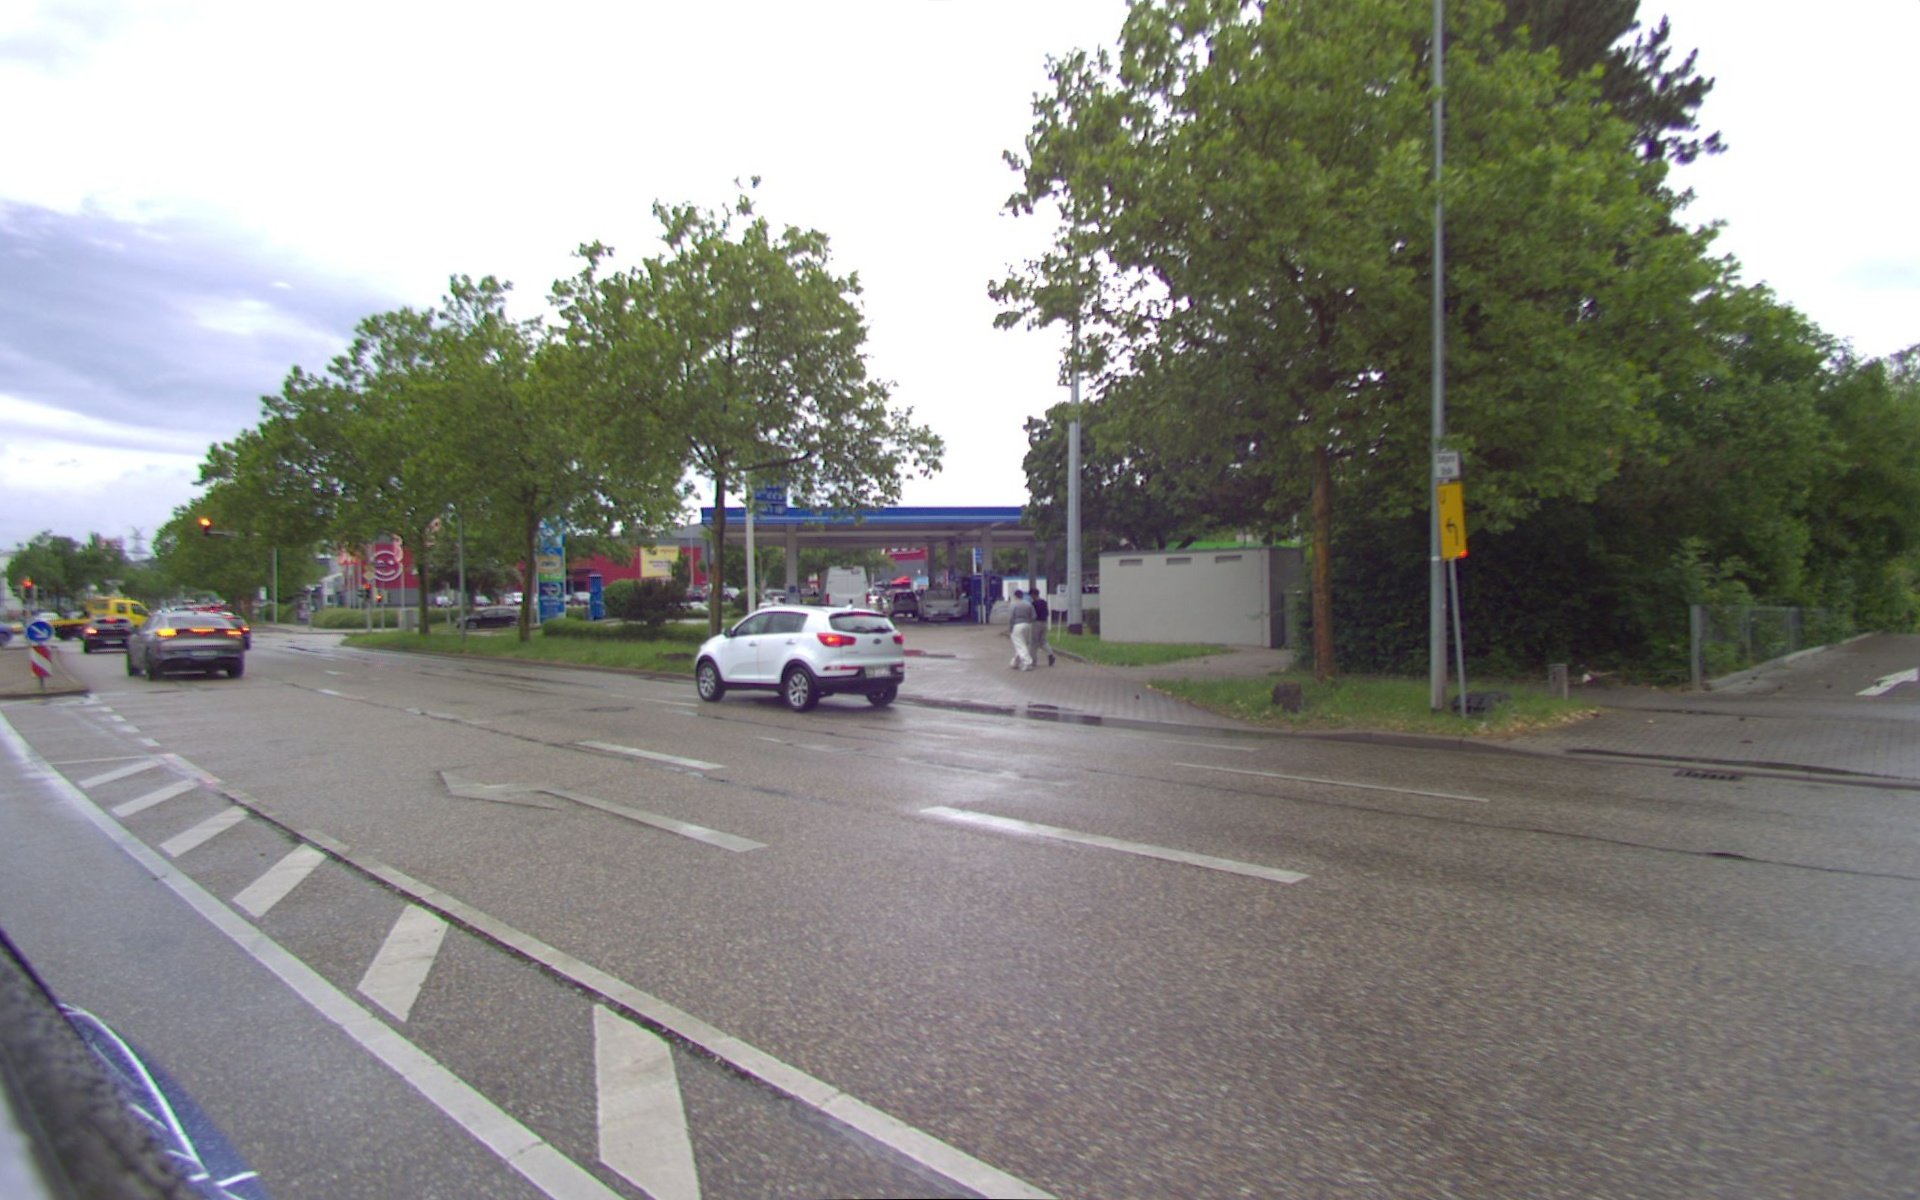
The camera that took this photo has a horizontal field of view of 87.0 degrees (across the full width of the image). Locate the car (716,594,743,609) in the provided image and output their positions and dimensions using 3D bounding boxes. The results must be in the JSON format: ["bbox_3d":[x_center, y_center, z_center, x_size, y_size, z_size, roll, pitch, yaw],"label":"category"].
[{"bbox_3d":[-25.537,0.195,112.114,1.645,1.658,3.836,0,-1,-35],"label":"car"}]

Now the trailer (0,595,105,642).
[{"bbox_3d":[-52.059,1.049,55.328,2.296,2.492,7.908,-3,0,23],"label":"trailer"}]

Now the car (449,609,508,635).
[{"bbox_3d":[-34.063,1.541,71.629,3.483,1.709,1.605,-1,0,-39],"label":"car"}]

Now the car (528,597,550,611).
[{"bbox_3d":[-50.537,0.506,121.491,1.645,1.658,3.972,0,-1,-35],"label":"car"}]

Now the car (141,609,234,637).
[{"bbox_3d":[-45.373,1.321,59.541,1.893,1.565,3.962,0,0,28],"label":"car"}]

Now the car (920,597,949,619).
[{"bbox_3d":[-2.085,0.664,82.297,1.766,1.741,4.008,0,-1,-10],"label":"car"}]

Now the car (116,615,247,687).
[{"bbox_3d":[-19.018,1.167,24.642,4.598,1.574,1.792,-1,-1,43],"label":"car"}]

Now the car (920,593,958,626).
[{"bbox_3d":[-1.075,0.443,50.251,1.663,1.594,3.567,0,1,-5],"label":"car"}]

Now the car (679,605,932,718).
[{"bbox_3d":[-2.673,0.907,16.811,4.400,1.631,1.906,-1,-1,45],"label":"car"}]

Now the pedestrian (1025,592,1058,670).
[{"bbox_3d":[1.804,0.684,22.406,0.540,1.695,0.506,-2,-2,42],"label":"pedestrian"}]

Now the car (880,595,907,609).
[{"bbox_3d":[-8.227,0.313,125.209,1.645,1.658,3.836,0,-1,-35],"label":"car"}]

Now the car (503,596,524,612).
[{"bbox_3d":[-58.969,0.555,133.754,1.762,1.940,3.758,0,-2,-37],"label":"car"}]

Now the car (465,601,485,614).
[{"bbox_3d":[-63.033,1.000,131.422,1.669,1.658,3.972,0,-1,-35],"label":"car"}]

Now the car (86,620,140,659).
[{"bbox_3d":[-34.501,1.580,41.199,1.622,1.520,3.899,1,-2,-41],"label":"car"}]

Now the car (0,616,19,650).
[{"bbox_3d":[-47.259,1.579,47.425,1.780,1.645,4.541,0,-1,7],"label":"car"}]

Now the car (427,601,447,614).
[{"bbox_3d":[-64.339,0.936,124.546,1.669,1.658,3.972,0,-1,-35],"label":"car"}]

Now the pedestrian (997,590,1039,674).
[{"bbox_3d":[1.246,0.676,21.780,0.655,1.780,0.585,-1,0,-27],"label":"pedestrian"}]

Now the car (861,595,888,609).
[{"bbox_3d":[-10.439,0.300,123.596,1.645,1.658,3.836,0,-1,-35],"label":"car"}]

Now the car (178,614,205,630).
[{"bbox_3d":[-69.788,2.037,91.940,1.759,1.415,4.010,0,-1,-35],"label":"car"}]

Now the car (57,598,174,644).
[{"bbox_3d":[-50.276,1.205,60.391,2.226,2.492,4.991,-3,0,15],"label":"car"}]

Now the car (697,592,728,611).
[{"bbox_3d":[-31.585,0.226,129.007,1.796,2.321,5.661,0,-1,-35],"label":"car"}]

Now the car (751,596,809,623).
[{"bbox_3d":[-12.152,0.631,68.390,1.811,1.811,3.655,0,-1,36],"label":"car"}]

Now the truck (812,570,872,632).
[{"bbox_3d":[-5.685,0.159,47.893,2.120,2.696,7.891,0,-2,-12],"label":"truck"}]
